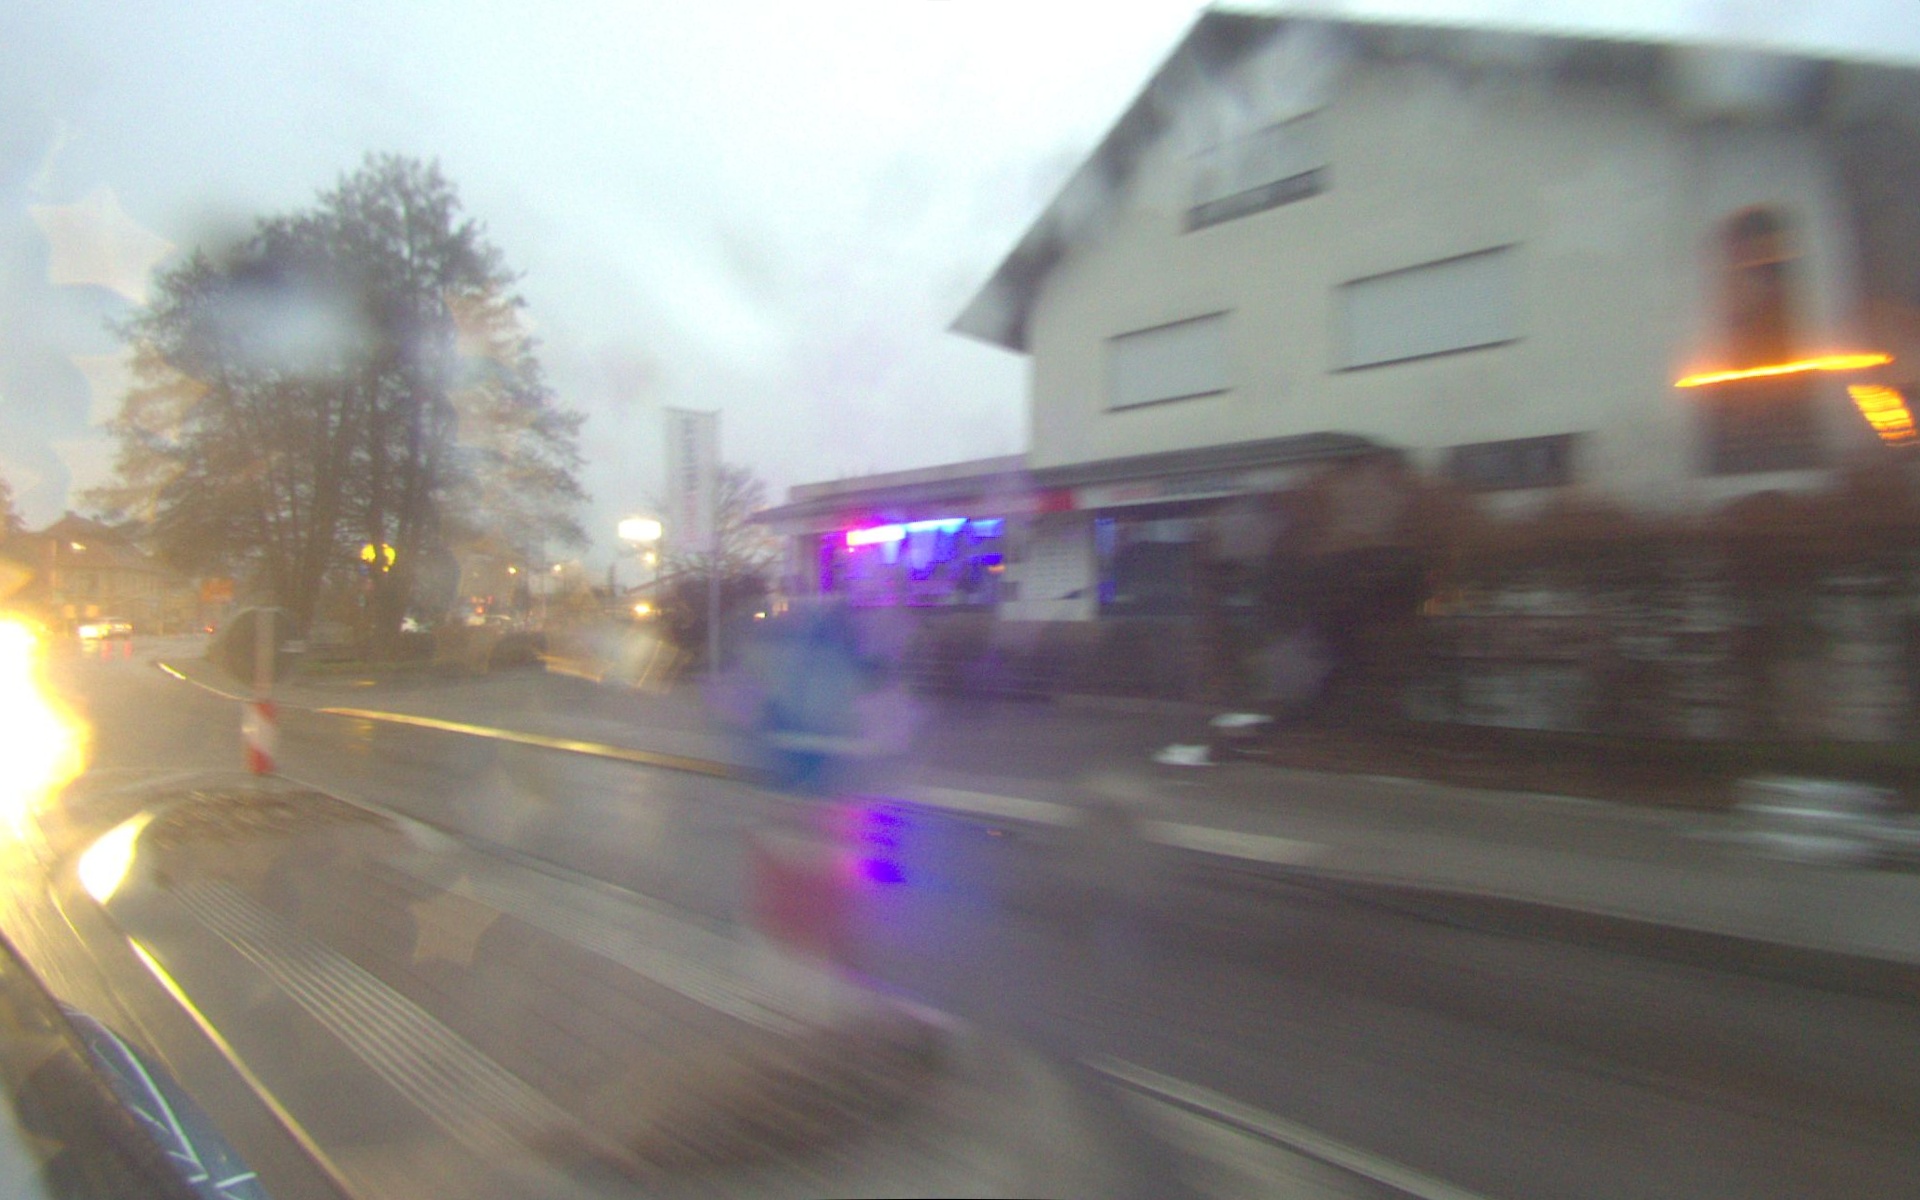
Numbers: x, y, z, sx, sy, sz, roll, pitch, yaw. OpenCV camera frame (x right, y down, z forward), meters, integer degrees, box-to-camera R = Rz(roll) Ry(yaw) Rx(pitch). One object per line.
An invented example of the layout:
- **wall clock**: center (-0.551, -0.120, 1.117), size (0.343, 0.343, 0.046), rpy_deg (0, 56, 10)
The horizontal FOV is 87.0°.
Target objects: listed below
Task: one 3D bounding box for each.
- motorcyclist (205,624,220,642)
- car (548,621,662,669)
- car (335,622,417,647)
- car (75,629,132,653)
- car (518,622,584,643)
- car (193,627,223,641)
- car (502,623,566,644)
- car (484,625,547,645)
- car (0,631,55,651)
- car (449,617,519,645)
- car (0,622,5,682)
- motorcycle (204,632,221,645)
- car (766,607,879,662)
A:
- **motorcyclist**: center (-63.269, 2.780, 85.665), size (0.853, 1.496, 0.912), rpy_deg (0, -1, -28)
- **car**: center (-16.490, 2.087, 47.182), size (2.125, 1.992, 4.601), rpy_deg (-3, -1, 38)
- **car**: center (-42.007, 2.475, 72.913), size (2.033, 1.725, 4.718), rpy_deg (-2, -2, 43)
- **car**: center (-64.033, 3.041, 75.653), size (4.401, 1.736, 1.760), rpy_deg (-1, -2, 29)
- **car**: center (-32.857, 2.672, 81.368), size (2.056, 1.575, 4.381), rpy_deg (-3, -5, 43)
- **car**: center (-81.521, 3.713, 109.749), size (1.746, 1.442, 3.808), rpy_deg (-1, -2, -22)
- **car**: center (-35.058, 2.801, 83.277), size (2.056, 1.575, 4.381), rpy_deg (-3, -5, 43)
- **car**: center (-37.191, 2.923, 84.781), size (2.056, 1.575, 4.381), rpy_deg (-3, -5, 43)
- **car**: center (-70.813, 3.063, 75.951), size (3.972, 1.506, 1.783), rpy_deg (0, -2, -22)
- **car**: center (-42.220, 2.762, 89.808), size (2.219, 2.300, 5.128), rpy_deg (-3, -5, 43)
- **car**: center (-29.468, 1.536, 29.754), size (1.871, 1.712, 4.245), rpy_deg (-2, 1, -42)
- **motorcycle**: center (-63.275, 3.236, 85.675), size (0.853, 1.031, 2.116), rpy_deg (0, -1, -28)
- **car**: center (-6.250, 1.562, 45.491), size (2.254, 2.296, 5.272), rpy_deg (-1, -2, -44)
